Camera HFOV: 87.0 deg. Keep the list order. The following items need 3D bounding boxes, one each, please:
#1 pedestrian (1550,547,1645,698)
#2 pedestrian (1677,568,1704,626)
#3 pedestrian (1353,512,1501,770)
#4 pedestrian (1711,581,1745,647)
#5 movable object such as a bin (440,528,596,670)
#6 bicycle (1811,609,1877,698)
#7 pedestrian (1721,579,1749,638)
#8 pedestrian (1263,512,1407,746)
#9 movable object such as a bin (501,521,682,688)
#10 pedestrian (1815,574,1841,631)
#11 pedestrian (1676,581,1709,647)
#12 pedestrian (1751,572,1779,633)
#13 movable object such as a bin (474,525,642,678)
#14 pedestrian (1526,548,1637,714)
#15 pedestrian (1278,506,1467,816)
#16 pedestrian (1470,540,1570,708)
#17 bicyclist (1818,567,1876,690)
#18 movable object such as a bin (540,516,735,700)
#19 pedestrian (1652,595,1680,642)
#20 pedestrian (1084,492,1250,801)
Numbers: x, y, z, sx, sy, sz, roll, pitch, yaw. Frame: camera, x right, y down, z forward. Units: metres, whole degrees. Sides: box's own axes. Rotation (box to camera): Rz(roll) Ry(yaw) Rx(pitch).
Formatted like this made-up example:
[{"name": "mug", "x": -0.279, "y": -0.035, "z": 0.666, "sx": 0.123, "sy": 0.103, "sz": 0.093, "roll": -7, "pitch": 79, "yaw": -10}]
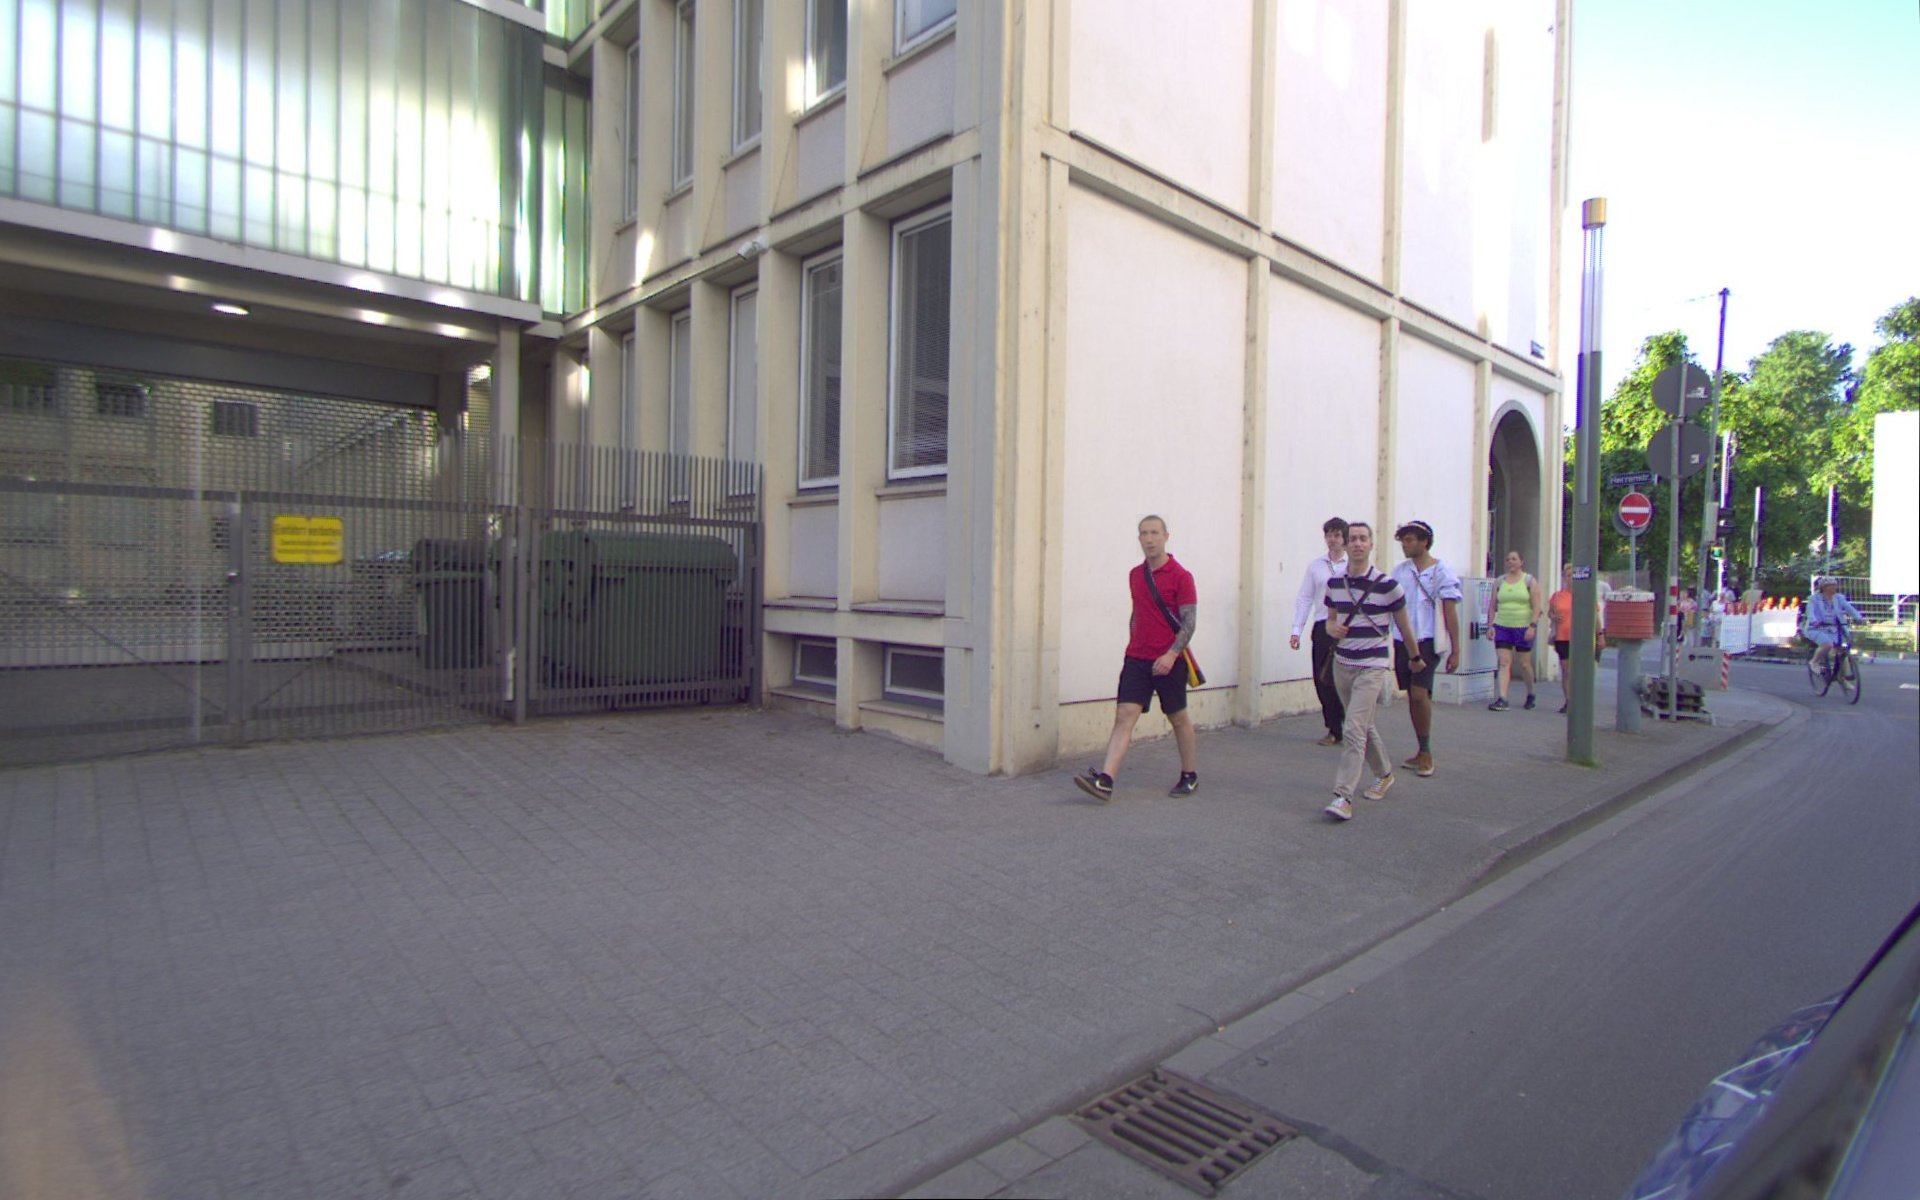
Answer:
[{"name": "pedestrian", "x": 7.693, "y": 0.251, "z": 12.217, "sx": 0.681, "sy": 1.736, "sz": 0.685, "roll": 0, "pitch": 4, "yaw": -41}, {"name": "pedestrian", "x": 23.295, "y": -0.111, "z": 32.272, "sx": 0.624, "sy": 1.805, "sz": 0.614, "roll": 1, "pitch": 1, "yaw": 42}, {"name": "pedestrian", "x": 3.485, "y": 0.269, "z": 7.565, "sx": 0.681, "sy": 1.800, "sz": 0.684, "roll": 0, "pitch": 3, "yaw": -41}, {"name": "pedestrian", "x": 19.439, "y": 0.342, "z": 25.616, "sx": 0.624, "sy": 1.634, "sz": 0.614, "roll": 1, "pitch": 1, "yaw": 42}, {"name": "movable object such as a bin", "x": -4.894, "y": -0.033, "z": 11.223, "sx": 1.359, "sy": 1.454, "sz": 0.968, "roll": -1, "pitch": 2, "yaw": -42}, {"name": "bicycle", "x": 12.573, "y": 0.715, "z": 14.366, "sx": 0.594, "sy": 1.097, "sz": 2.274, "roll": 1, "pitch": 2, "yaw": 44}, {"name": "pedestrian", "x": 24.143, "y": 0.241, "z": 31.537, "sx": 0.624, "sy": 1.805, "sz": 0.614, "roll": 1, "pitch": 1, "yaw": 42}, {"name": "pedestrian", "x": 3.098, "y": 0.211, "z": 8.384, "sx": 0.681, "sy": 1.799, "sz": 0.685, "roll": 0, "pitch": 7, "yaw": -41}, {"name": "movable object such as a bin", "x": -3.483, "y": 0.017, "z": 9.597, "sx": 1.359, "sy": 1.454, "sz": 0.968, "roll": -1, "pitch": 2, "yaw": -42}, {"name": "pedestrian", "x": 28.054, "y": 0.068, "z": 32.713, "sx": 0.624, "sy": 1.805, "sz": 0.614, "roll": 1, "pitch": 1, "yaw": 42}, {"name": "pedestrian", "x": 18.833, "y": 0.334, "z": 26.014, "sx": 0.624, "sy": 1.662, "sz": 0.614, "roll": 1, "pitch": 1, "yaw": 42}, {"name": "pedestrian", "x": 24.431, "y": 0.065, "z": 30.705, "sx": 0.624, "sy": 1.805, "sz": 0.614, "roll": 1, "pitch": 1, "yaw": 42}, {"name": "movable object such as a bin", "x": -4.128, "y": -0.008, "z": 10.419, "sx": 1.359, "sy": 1.454, "sz": 0.968, "roll": -1, "pitch": 2, "yaw": -42}, {"name": "pedestrian", "x": 6.649, "y": 0.307, "z": 10.839, "sx": 0.681, "sy": 1.655, "sz": 0.685, "roll": 0, "pitch": 6, "yaw": -41}, {"name": "pedestrian", "x": 2.602, "y": 0.345, "z": 6.411, "sx": 0.681, "sy": 1.799, "sz": 0.685, "roll": 0, "pitch": 7, "yaw": -41}, {"name": "pedestrian", "x": 6.066, "y": 0.234, "z": 10.967, "sx": 0.681, "sy": 1.736, "sz": 0.684, "roll": 0, "pitch": 3, "yaw": -41}, {"name": "bicyclist", "x": 12.657, "y": 0.389, "z": 14.447, "sx": 0.584, "sy": 1.710, "sz": 0.530, "roll": 1, "pitch": 1, "yaw": 44}, {"name": "movable object such as a bin", "x": -2.807, "y": 0.040, "z": 8.838, "sx": 1.359, "sy": 1.454, "sz": 0.968, "roll": -1, "pitch": 2, "yaw": -42}, {"name": "pedestrian", "x": 18.594, "y": 0.481, "z": 26.648, "sx": 0.533, "sy": 1.191, "sz": 0.614, "roll": 1, "pitch": 1, "yaw": 42}, {"name": "pedestrian", "x": 1.289, "y": 0.251, "z": 6.351, "sx": 0.583, "sy": 1.799, "sz": 0.685, "roll": 0, "pitch": 5, "yaw": -41}]
